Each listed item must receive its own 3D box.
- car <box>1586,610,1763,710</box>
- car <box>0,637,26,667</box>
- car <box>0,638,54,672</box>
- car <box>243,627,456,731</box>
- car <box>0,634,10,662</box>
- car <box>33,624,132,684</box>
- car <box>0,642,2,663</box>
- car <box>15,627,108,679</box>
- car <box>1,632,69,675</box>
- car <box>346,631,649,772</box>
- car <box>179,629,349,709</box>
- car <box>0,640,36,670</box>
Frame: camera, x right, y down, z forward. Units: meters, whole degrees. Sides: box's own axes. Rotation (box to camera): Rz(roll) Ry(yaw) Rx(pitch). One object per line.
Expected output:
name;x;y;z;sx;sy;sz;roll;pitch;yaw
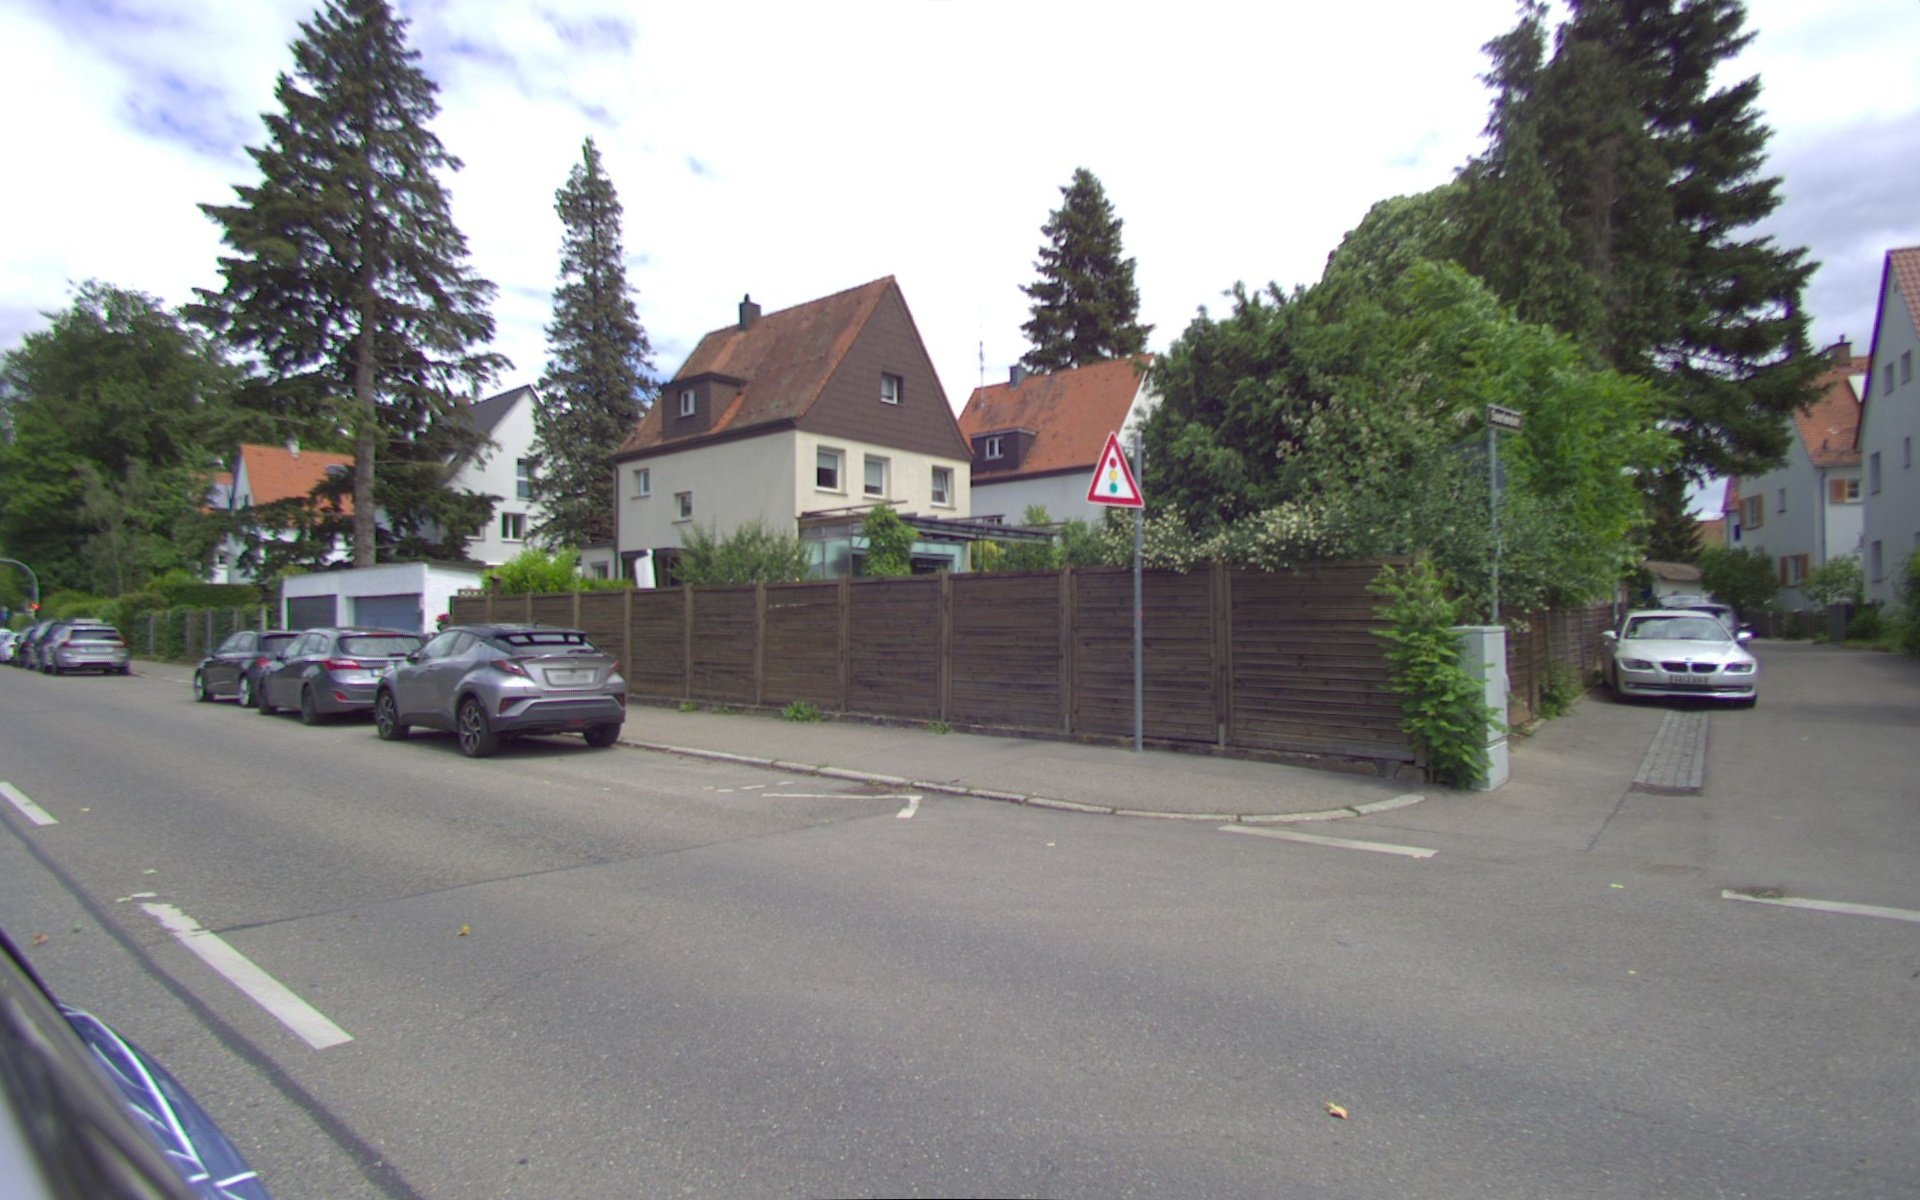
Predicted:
car;11.461;0.895;16.130;1.998;1.382;3.947;-2;-2;39
car;-51.463;2.805;54.386;3.744;1.555;1.683;-3;-4;45
car;-43.175;2.521;46.622;5.070;1.470;1.785;-3;-4;45
car;-10.144;1.194;16.667;4.489;1.470;1.846;-2;-2;43
car;-62.273;3.083;64.838;4.607;1.772;1.658;-3;-4;43
car;-29.317;1.773;33.770;4.706;1.833;1.963;-3;-3;42
car;-65.982;3.532;68.370;1.684;1.464;4.361;5;-5;-42
car;-33.825;1.950;38.068;4.882;1.768;2.045;-2;-1;42
car;-38.379;2.218;41.967;4.583;1.691;1.609;-3;-5;43
car;-6.095;1.160;13.057;4.648;1.491;1.971;-2;-3;44
car;-13.812;1.329;20.012;3.900;1.438;1.635;-2;-4;38
car;-47.409;2.731;50.461;4.325;1.421;1.723;-3;-4;45
